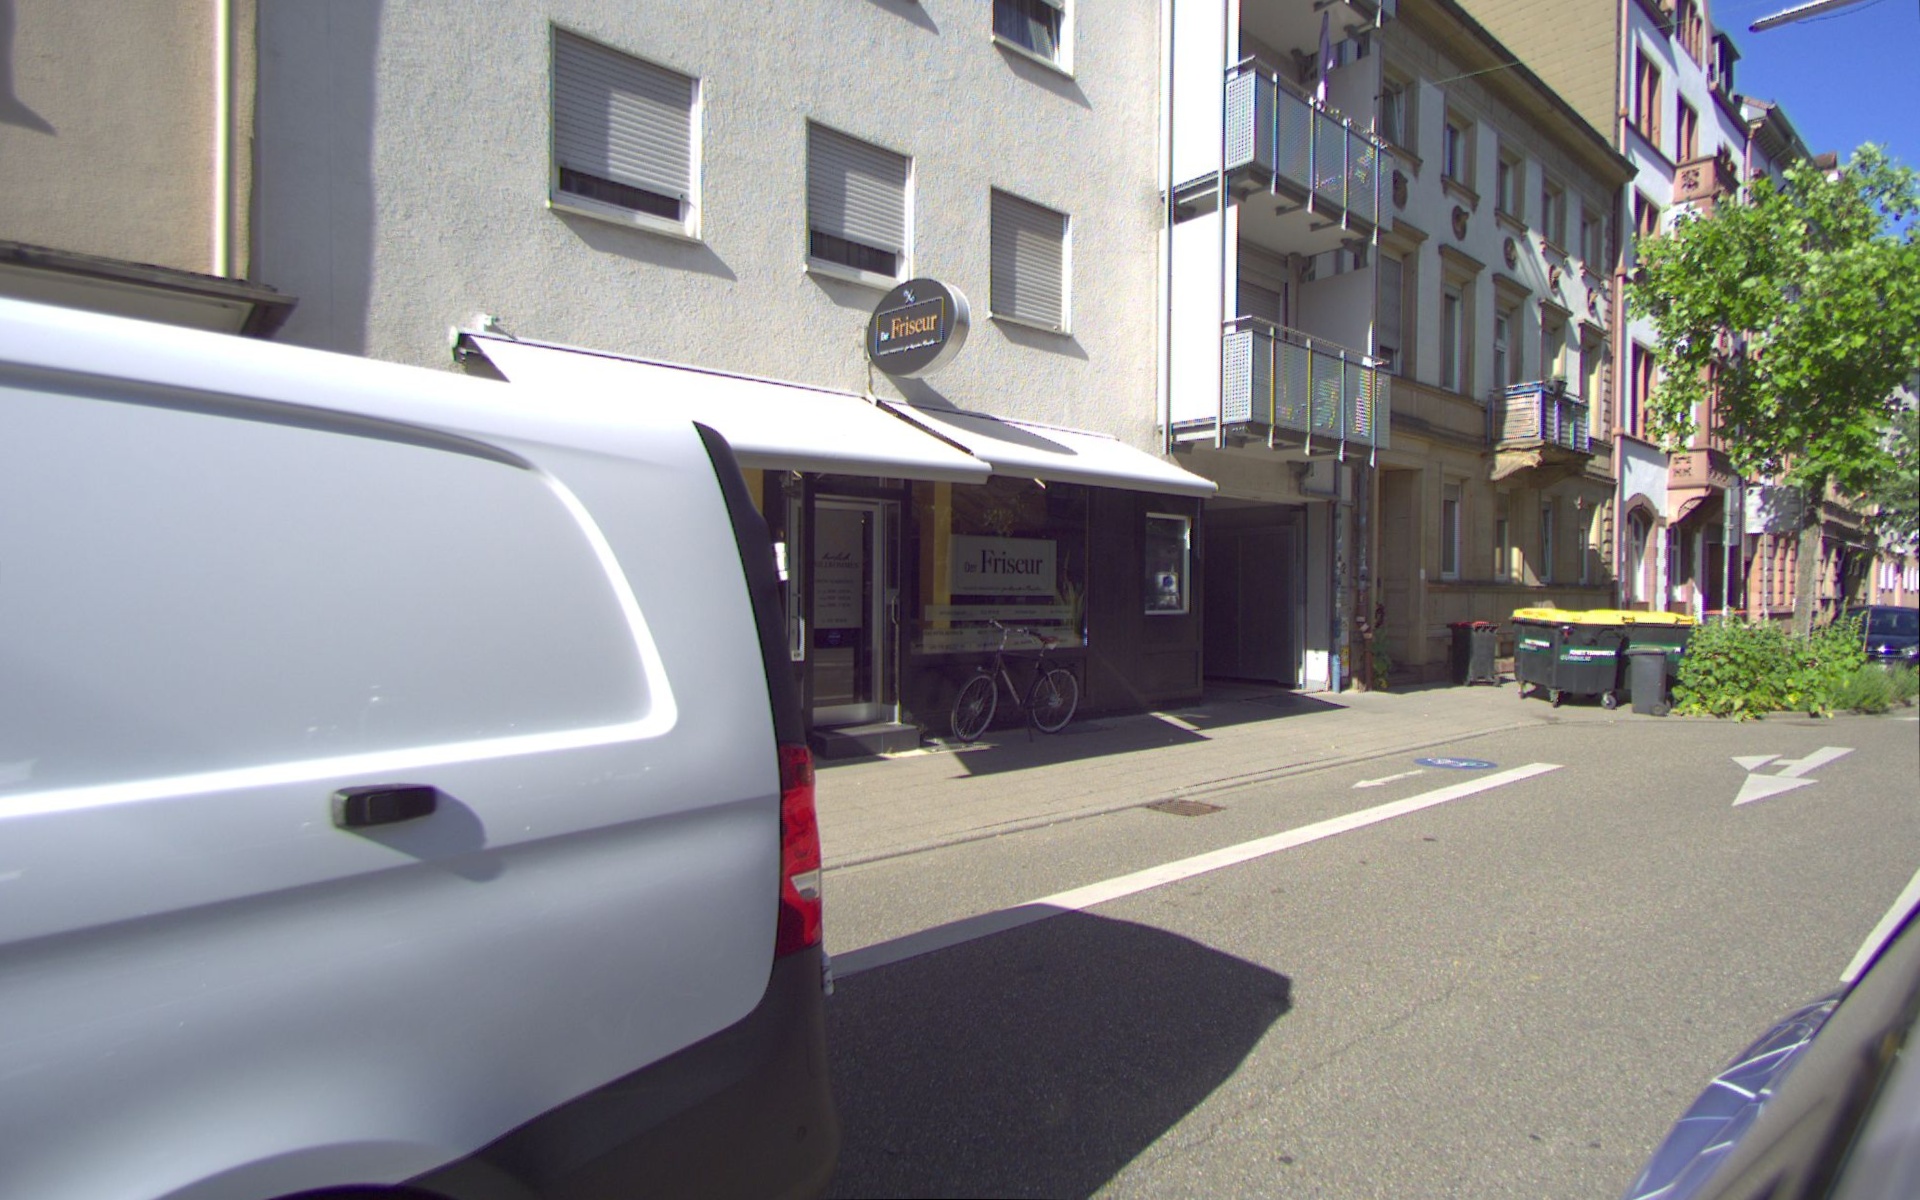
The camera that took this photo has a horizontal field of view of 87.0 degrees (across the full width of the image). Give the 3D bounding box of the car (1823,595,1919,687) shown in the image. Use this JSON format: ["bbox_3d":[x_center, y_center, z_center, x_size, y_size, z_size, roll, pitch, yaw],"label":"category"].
[{"bbox_3d":[16.837,0.673,18.211,3.293,1.510,1.550,0,1,-41],"label":"car"}]

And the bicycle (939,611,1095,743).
[{"bbox_3d":[0.603,0.721,10.100,1.760,1.193,0.402,0,0,-41],"label":"bicycle"}]

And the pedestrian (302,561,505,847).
[{"bbox_3d":[-3.423,0.565,6.221,0.930,1.556,0.825,0,4,-41],"label":"pedestrian"}]

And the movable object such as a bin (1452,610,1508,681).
[{"bbox_3d":[8.532,0.742,16.620,0.557,1.094,0.617,1,3,1],"label":"movable object such as a bin"}]

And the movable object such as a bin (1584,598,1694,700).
[{"bbox_3d":[9.958,0.686,14.897,0.943,1.365,1.066,1,3,11],"label":"movable object such as a bin"}]

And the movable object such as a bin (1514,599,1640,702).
[{"bbox_3d":[8.842,0.701,14.574,1.030,1.341,1.216,1,3,1],"label":"movable object such as a bin"}]

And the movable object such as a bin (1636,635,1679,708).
[{"bbox_3d":[9.571,0.972,13.883,0.399,0.933,0.478,3,3,41],"label":"movable object such as a bin"}]

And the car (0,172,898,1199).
[{"bbox_3d":[-2.522,0.489,0.889,4.913,1.892,1.838,0,1,-44],"label":"car"}]

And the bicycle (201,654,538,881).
[{"bbox_3d":[-3.603,0.963,6.287,1.760,1.146,0.402,0,4,-41],"label":"bicycle"}]
